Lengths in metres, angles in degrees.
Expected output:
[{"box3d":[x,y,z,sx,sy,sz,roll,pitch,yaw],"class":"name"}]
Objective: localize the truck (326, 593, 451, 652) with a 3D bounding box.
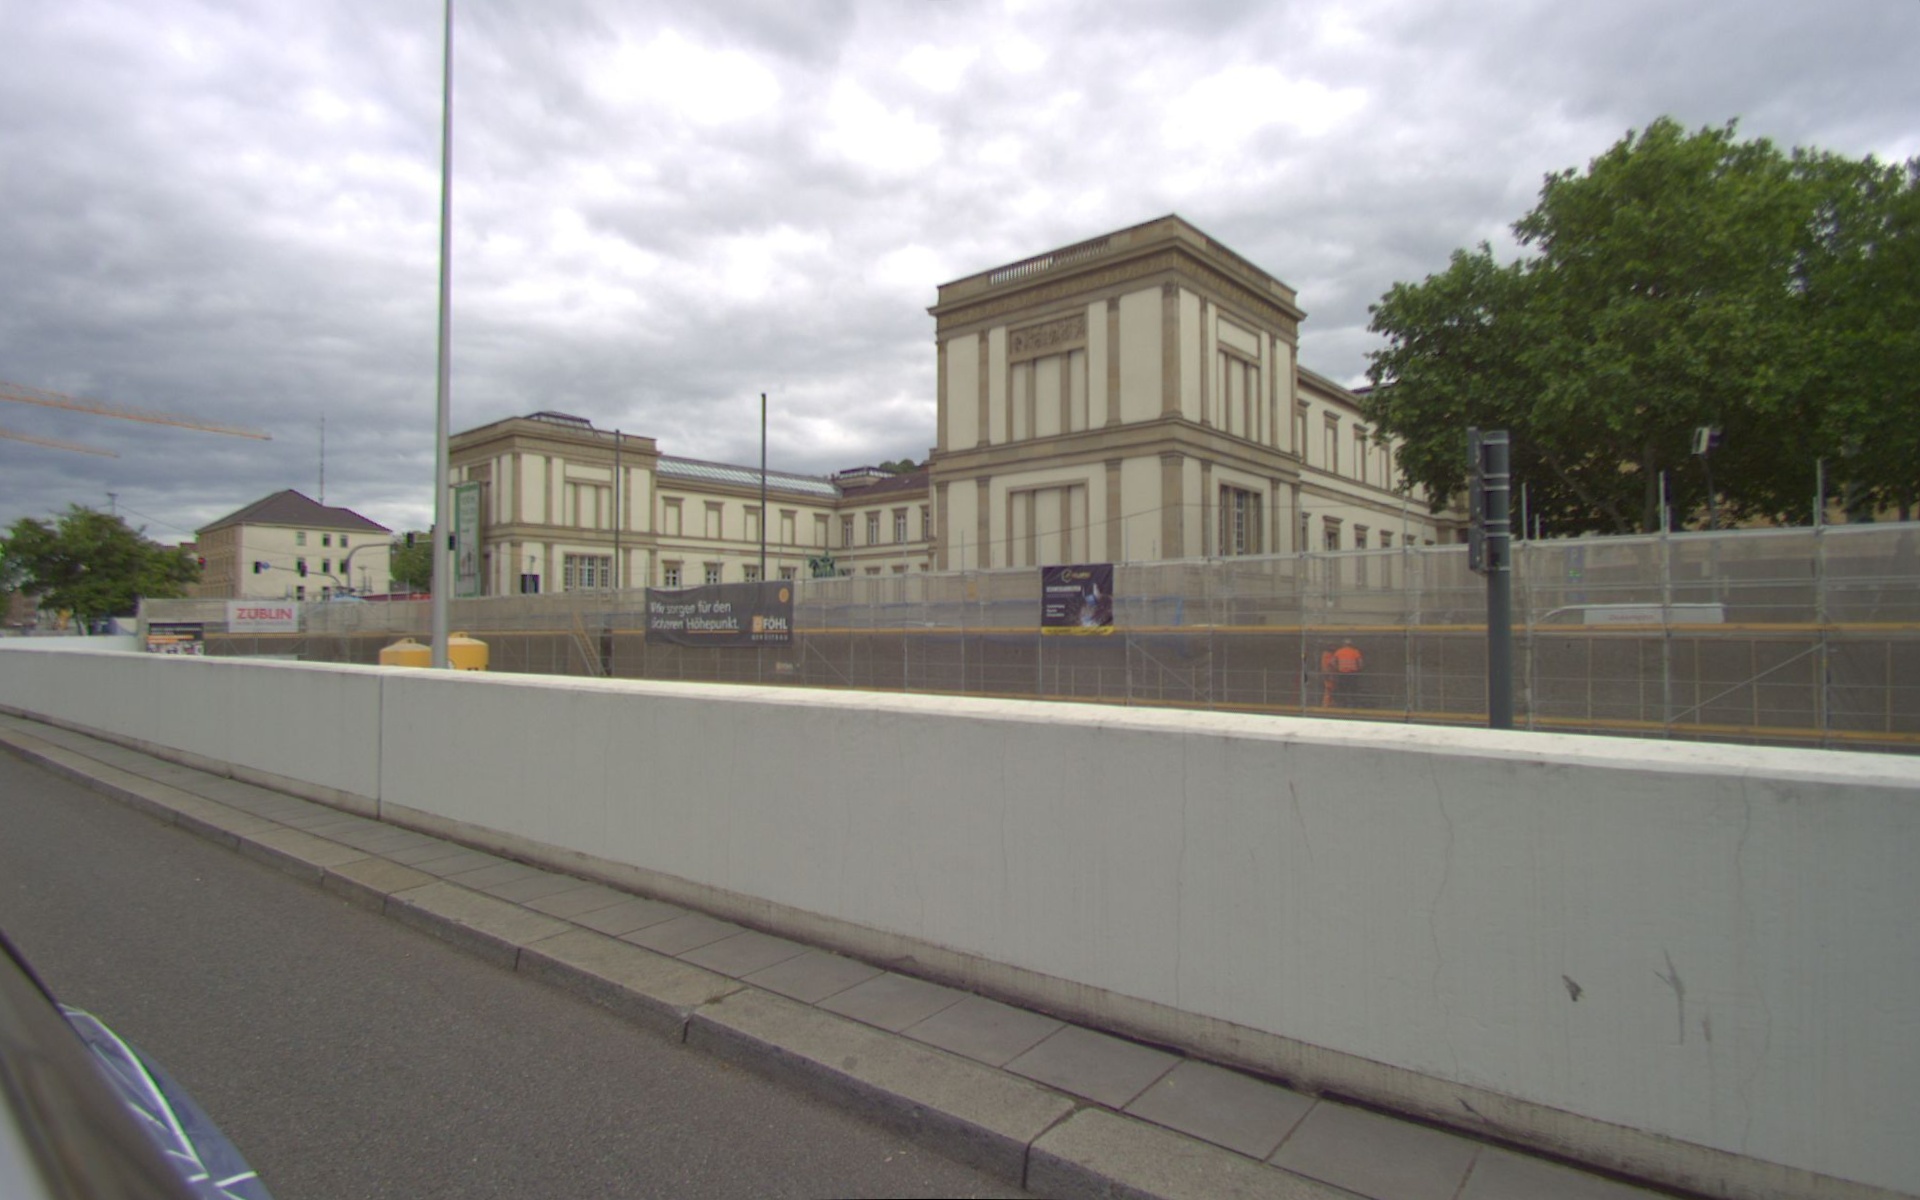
[{"box3d":[-44.008,1.880,77.467,16.603,4.114,2.887,-3,-4,41],"class":"truck"}]
